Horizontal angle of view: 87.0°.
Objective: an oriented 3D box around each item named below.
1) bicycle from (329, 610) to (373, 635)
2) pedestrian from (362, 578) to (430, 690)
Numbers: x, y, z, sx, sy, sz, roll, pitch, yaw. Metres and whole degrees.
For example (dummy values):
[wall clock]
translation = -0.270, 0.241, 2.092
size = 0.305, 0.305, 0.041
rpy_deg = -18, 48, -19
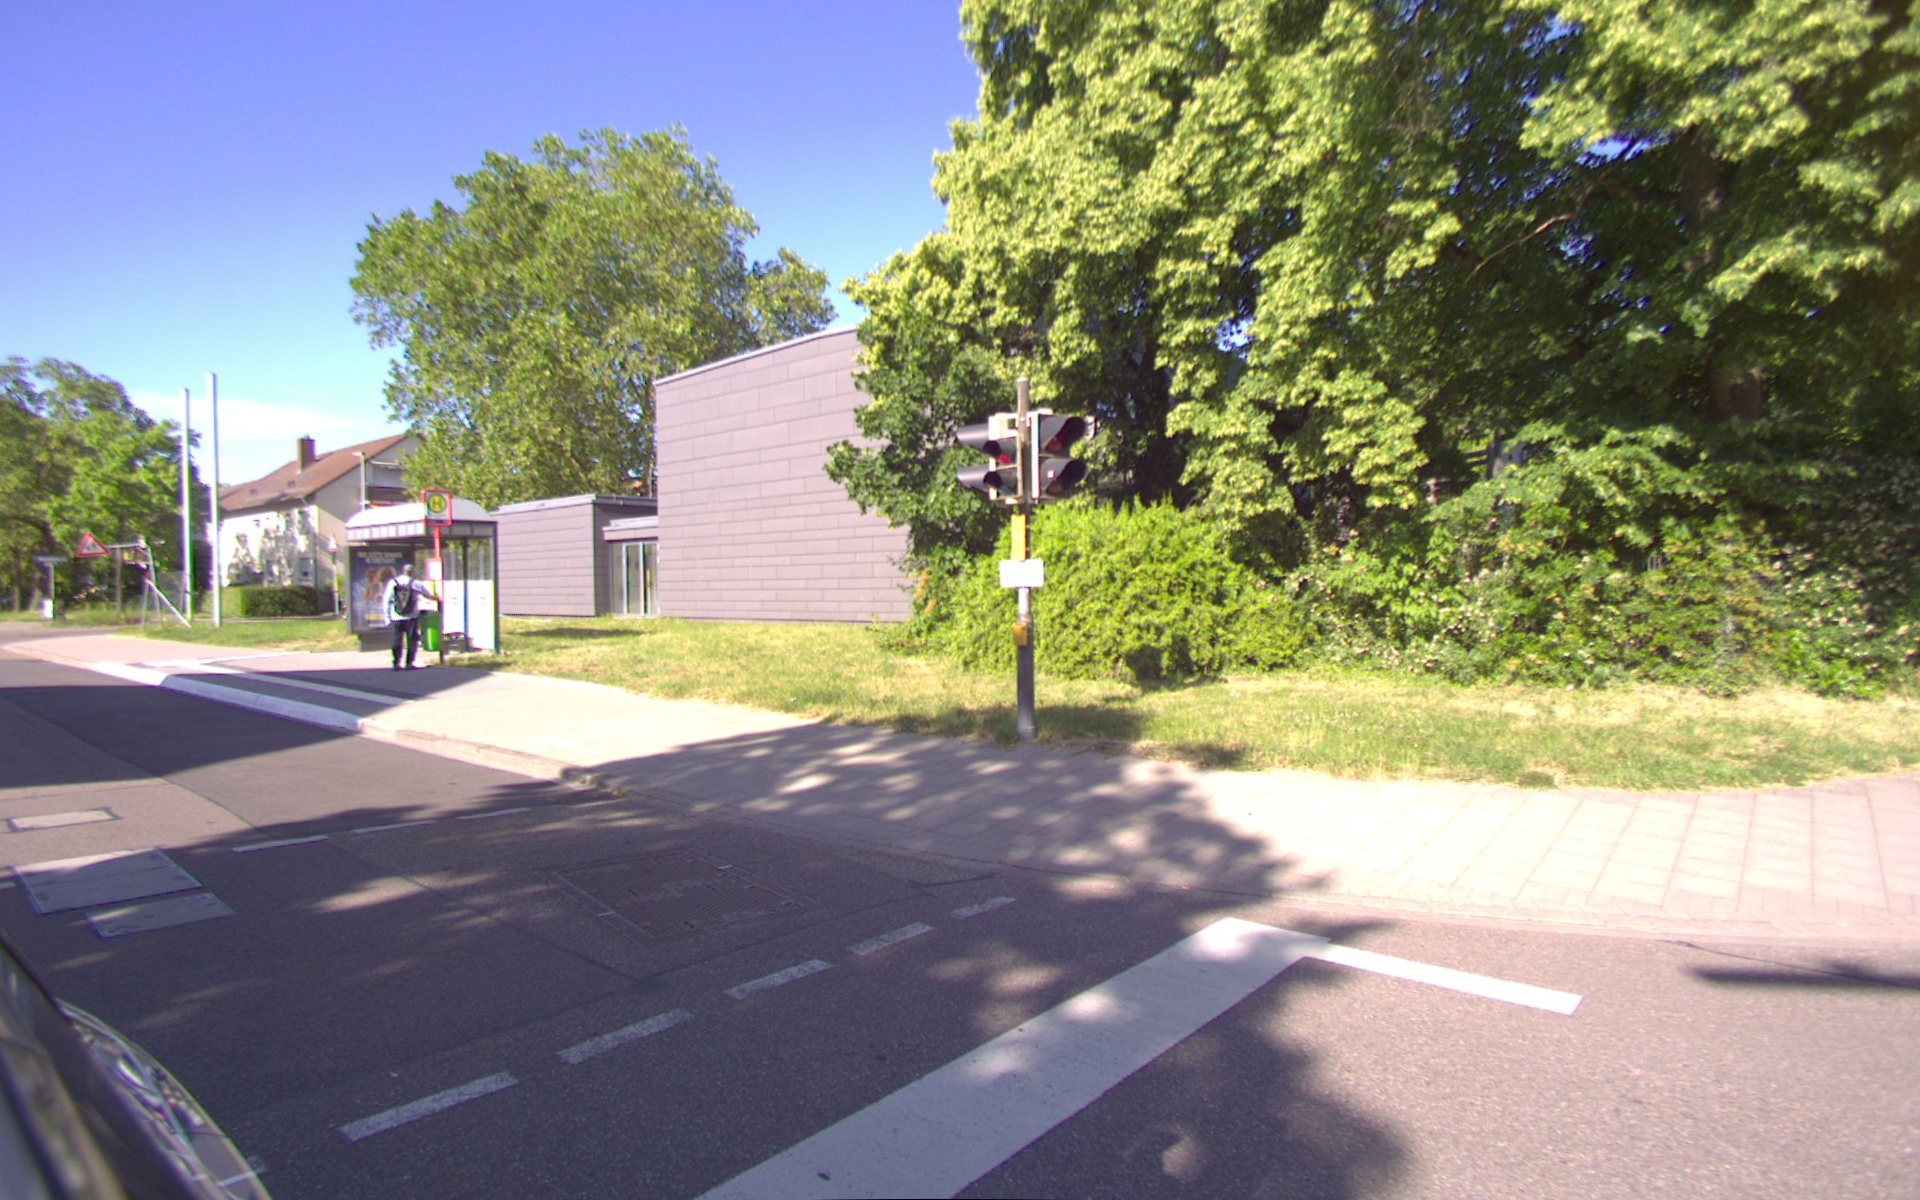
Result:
[bicycle]
translation = -26.017, 0.965, 43.259
size = 1.574, 0.992, 0.501
rpy_deg = -2, 0, -34
[pedestrian]
translation = -9.534, 0.561, 17.133
size = 0.706, 1.816, 0.772
rpy_deg = -3, 2, -10
